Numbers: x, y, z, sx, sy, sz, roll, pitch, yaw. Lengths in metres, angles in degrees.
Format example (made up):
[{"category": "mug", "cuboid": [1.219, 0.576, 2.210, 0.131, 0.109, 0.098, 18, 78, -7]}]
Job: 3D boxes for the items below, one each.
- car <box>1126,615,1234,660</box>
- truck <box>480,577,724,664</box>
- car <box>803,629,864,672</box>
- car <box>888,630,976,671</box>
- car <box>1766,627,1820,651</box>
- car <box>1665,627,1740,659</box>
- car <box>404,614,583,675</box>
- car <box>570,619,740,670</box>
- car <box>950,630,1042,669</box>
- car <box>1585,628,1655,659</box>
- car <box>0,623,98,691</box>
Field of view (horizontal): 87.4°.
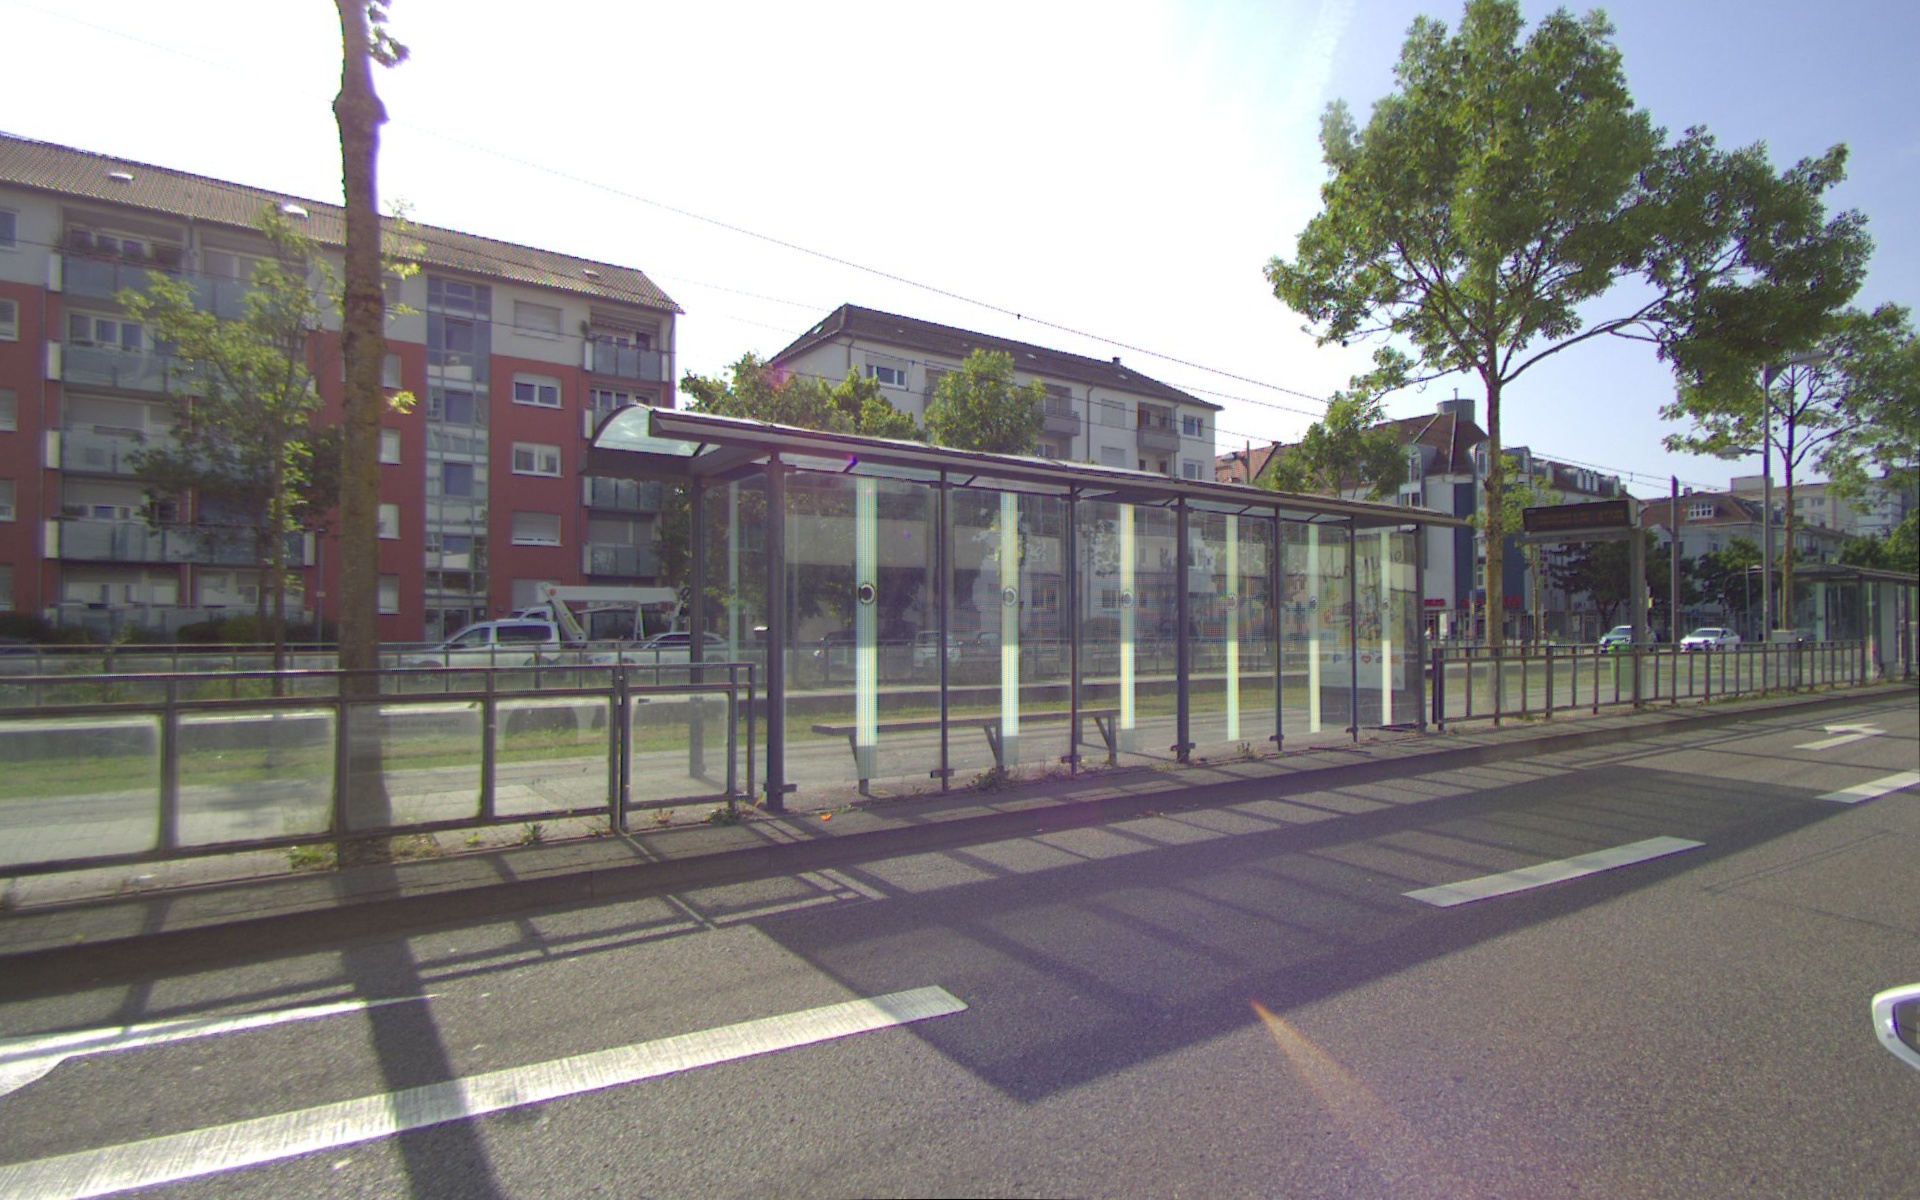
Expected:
[{"category": "car", "cuboid": [10.990, 1.864, 49.991, 5.262, 2.057, 2.349, 2, 0, -37]}, {"category": "truck", "cuboid": [-11.630, 0.692, 33.032, 7.174, 2.597, 2.348, 2, 0, -37]}, {"category": "car", "cuboid": [-4.050, 1.613, 32.730, 1.798, 1.260, 3.997, 1, -1, -5]}, {"category": "car", "cuboid": [-1.033, 1.706, 34.638, 1.910, 1.260, 3.982, 1, -1, -20]}, {"category": "car", "cuboid": [58.594, 2.746, 70.618, 3.957, 1.595, 1.864, 1, -1, -33]}, {"category": "car", "cuboid": [40.455, 2.319, 54.741, 4.005, 1.617, 1.982, 2, 0, -32]}, {"category": "car", "cuboid": [-13.053, 1.217, 28.211, 4.241, 1.533, 1.966, 2, 0, -37]}, {"category": "car", "cuboid": [-9.384, 1.356, 31.034, 4.640, 1.397, 1.966, 2, 0, -37]}, {"category": "car", "cuboid": [1.216, 1.711, 35.591, 1.910, 1.260, 3.982, 1, -1, -20]}, {"category": "car", "cuboid": [37.036, 2.418, 56.323, 3.961, 1.617, 1.980, 2, 0, -35]}, {"category": "car", "cuboid": [-21.665, 1.230, 22.024, 4.031, 1.378, 1.966, 2, 0, -37]}]
